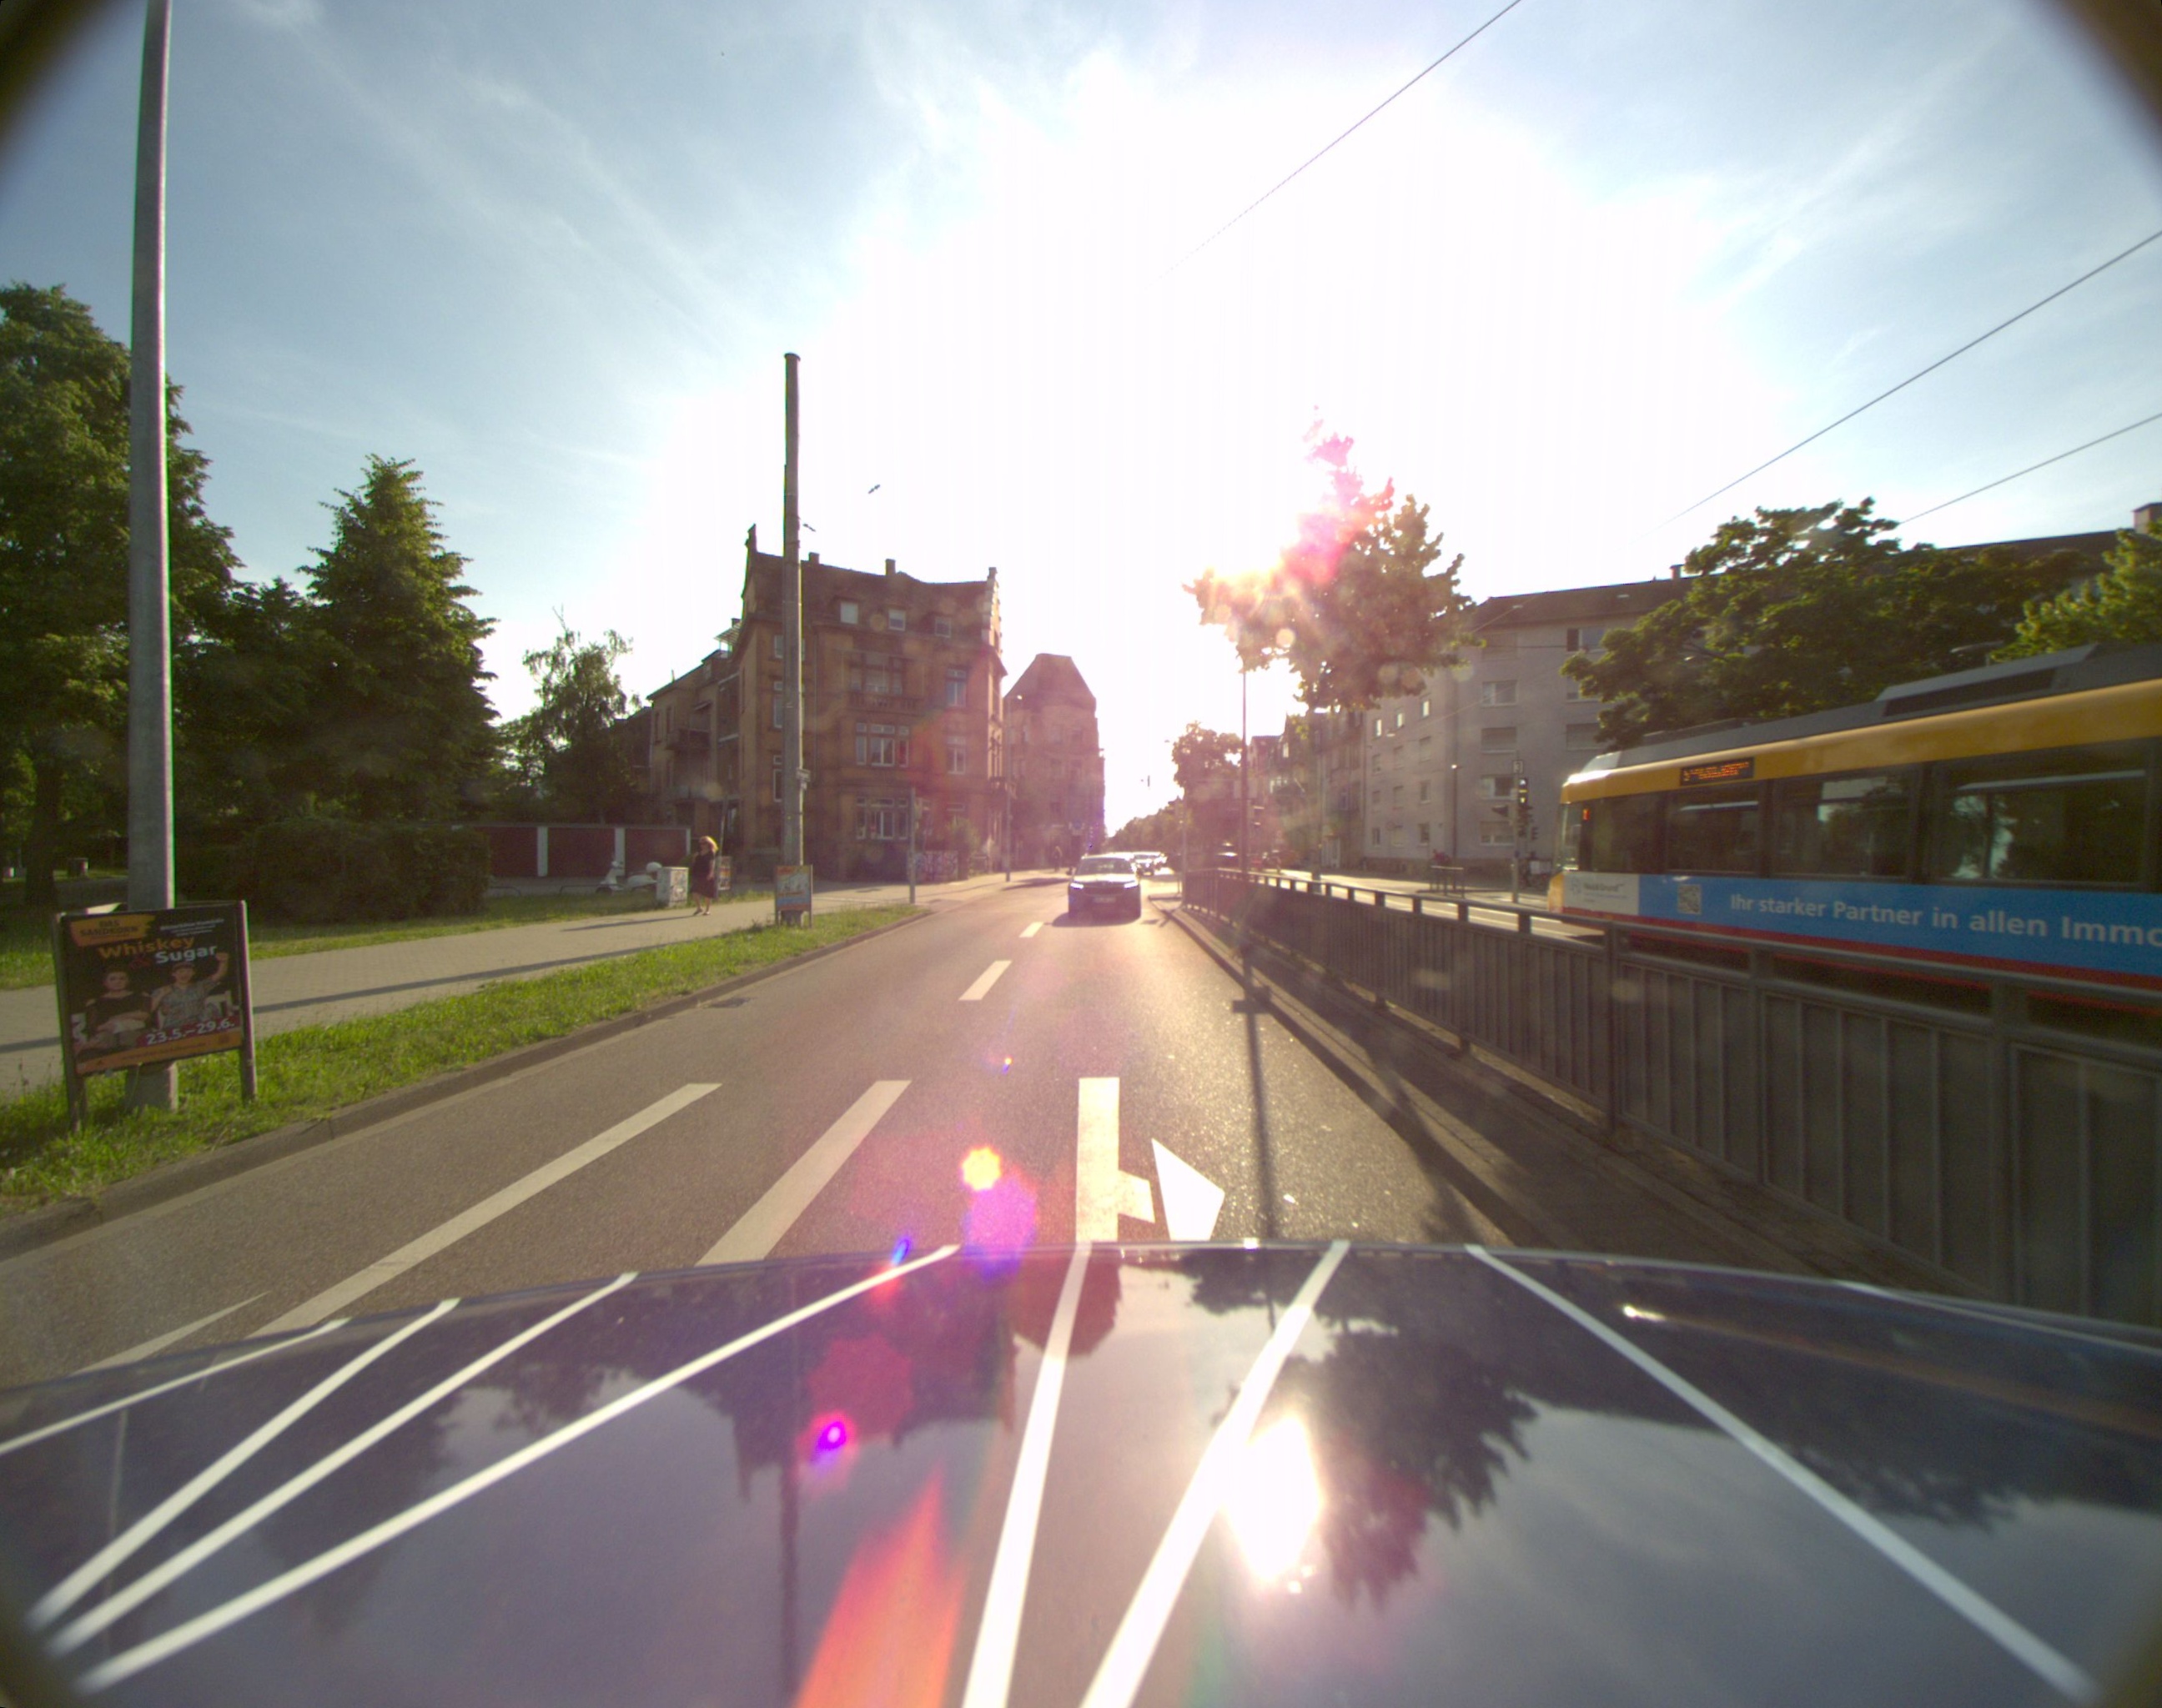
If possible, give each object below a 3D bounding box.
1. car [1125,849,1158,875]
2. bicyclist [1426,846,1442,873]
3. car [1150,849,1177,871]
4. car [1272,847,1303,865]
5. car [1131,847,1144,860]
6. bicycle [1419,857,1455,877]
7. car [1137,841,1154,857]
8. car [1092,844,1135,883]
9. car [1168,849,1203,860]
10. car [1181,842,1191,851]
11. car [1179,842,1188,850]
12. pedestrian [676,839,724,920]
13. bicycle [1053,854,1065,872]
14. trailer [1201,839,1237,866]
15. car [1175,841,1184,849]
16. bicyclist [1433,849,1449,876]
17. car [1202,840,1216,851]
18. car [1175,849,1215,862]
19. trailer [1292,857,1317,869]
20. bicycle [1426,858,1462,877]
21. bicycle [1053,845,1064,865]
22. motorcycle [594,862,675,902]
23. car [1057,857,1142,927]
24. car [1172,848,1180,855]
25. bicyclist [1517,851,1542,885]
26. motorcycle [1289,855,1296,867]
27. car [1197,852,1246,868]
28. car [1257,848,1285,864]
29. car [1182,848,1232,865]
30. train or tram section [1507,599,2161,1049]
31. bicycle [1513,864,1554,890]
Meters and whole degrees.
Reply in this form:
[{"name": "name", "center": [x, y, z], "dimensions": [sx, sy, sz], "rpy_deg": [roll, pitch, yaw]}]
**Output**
[{"name": "car", "center": [3.947, 0.479, 49.165], "dimensions": [1.997, 1.565, 4.002], "rpy_deg": [-1, 0, 7]}, {"name": "bicyclist", "center": [21.784, 0.318, 46.856], "dimensions": [0.851, 1.633, 0.815], "rpy_deg": [-1, 1, 22]}, {"name": "car", "center": [6.344, 0.434, 58.472], "dimensions": [1.997, 1.565, 4.002], "rpy_deg": [-1, 0, 7]}, {"name": "car", "center": [20.535, 0.215, 75.811], "dimensions": [2.170, 1.740, 4.719], "rpy_deg": [-1, 0, 4]}, {"name": "car", "center": [8.989, -0.155, 121.504], "dimensions": [1.998, 2.002, 4.000], "rpy_deg": [0, 1, 2]}, {"name": "bicycle", "center": [21.920, 0.809, 46.851], "dimensions": [1.976, 1.196, 0.736], "rpy_deg": [-1, 1, 23]}, {"name": "car", "center": [8.239, -0.615, 97.413], "dimensions": [1.998, 2.002, 4.000], "rpy_deg": [0, 1, 2]}, {"name": "car", "center": [1.577, 0.454, 37.992], "dimensions": [1.998, 1.827, 4.000], "rpy_deg": [-1, 0, 1]}, {"name": "car", "center": [14.077, 0.042, 102.429], "dimensions": [4.259, 1.414, 2.176], "rpy_deg": [-1, 0, 43]}, {"name": "car", "center": [24.047, -1.751, 173.545], "dimensions": [1.998, 2.002, 4.001], "rpy_deg": [-1, 0, 5]}, {"name": "car", "center": [24.851, -1.940, 184.614], "dimensions": [1.998, 2.002, 4.001], "rpy_deg": [-1, 0, 5]}, {"name": "pedestrian", "center": [-8.273, 0.550, 16.513], "dimensions": [0.616, 1.682, 0.549], "rpy_deg": [5, 1, 6]}, {"name": "bicycle", "center": [-1.509, 0.575, 51.303], "dimensions": [0.485, 1.183, 1.337], "rpy_deg": [-1, 0, -17]}, {"name": "trailer", "center": [12.758, -0.118, 70.350], "dimensions": [2.858, 2.378, 1.726], "rpy_deg": [-1, 0, 33]}, {"name": "car", "center": [25.583, -2.227, 196.955], "dimensions": [1.998, 2.002, 4.000], "rpy_deg": [-1, 0, 1]}, {"name": "bicyclist", "center": [21.658, 0.503, 45.713], "dimensions": [0.771, 1.633, 0.796], "rpy_deg": [1, 1, 22]}, {"name": "car", "center": [23.954, -1.550, 142.326], "dimensions": [1.998, 2.002, 4.000], "rpy_deg": [-1, 0, 2]}, {"name": "car", "center": [13.224, 0.214, 88.337], "dimensions": [4.294, 1.414, 1.963], "rpy_deg": [-1, 0, 43]}, {"name": "trailer", "center": [20.353, 0.791, 69.307], "dimensions": [1.444, 0.891, 2.880], "rpy_deg": [-6, 0, 2]}, {"name": "bicycle", "center": [21.813, 0.796, 45.698], "dimensions": [1.912, 1.104, 0.736], "rpy_deg": [1, 1, 23]}, {"name": "bicycle", "center": [-1.529, 0.077, 51.325], "dimensions": [0.575, 1.290, 0.687], "rpy_deg": [-1, 1, -19]}, {"name": "motorcycle", "center": [-13.605, 0.840, 23.189], "dimensions": [2.002, 1.153, 0.708], "rpy_deg": [-1, 1, -4]}, {"name": "car", "center": [0.535, 0.835, 18.549], "dimensions": [1.839, 1.472, 4.001], "rpy_deg": [0, 0, 4]}, {"name": "car", "center": [27.434, -0.629, 219.406], "dimensions": [1.998, 2.002, 4.000], "rpy_deg": [-1, 0, 1]}, {"name": "bicyclist", "center": [18.782, 0.574, 31.829], "dimensions": [0.652, 1.405, 0.717], "rpy_deg": [-1, 1, 4]}, {"name": "motorcycle", "center": [20.010, 0.637, 71.789], "dimensions": [0.636, 1.074, 1.736], "rpy_deg": [-1, 0, 15]}, {"name": "car", "center": [12.378, 0.538, 67.073], "dimensions": [3.941, 1.352, 1.676], "rpy_deg": [1, 1, 37]}, {"name": "car", "center": [20.602, 0.200, 82.439], "dimensions": [2.170, 1.740, 4.612], "rpy_deg": [-1, 0, 4]}, {"name": "car", "center": [12.982, 0.223, 78.338], "dimensions": [4.704, 1.681, 2.177], "rpy_deg": [1, 1, 44]}, {"name": "train or tram section", "center": [9.942, -0.251, 7.907], "dimensions": [3.169, 3.459, 14.533], "rpy_deg": [-1, 0, 1]}, {"name": "bicycle", "center": [18.843, 0.943, 31.693], "dimensions": [0.543, 1.012, 2.251], "rpy_deg": [-1, 0, 5]}]
